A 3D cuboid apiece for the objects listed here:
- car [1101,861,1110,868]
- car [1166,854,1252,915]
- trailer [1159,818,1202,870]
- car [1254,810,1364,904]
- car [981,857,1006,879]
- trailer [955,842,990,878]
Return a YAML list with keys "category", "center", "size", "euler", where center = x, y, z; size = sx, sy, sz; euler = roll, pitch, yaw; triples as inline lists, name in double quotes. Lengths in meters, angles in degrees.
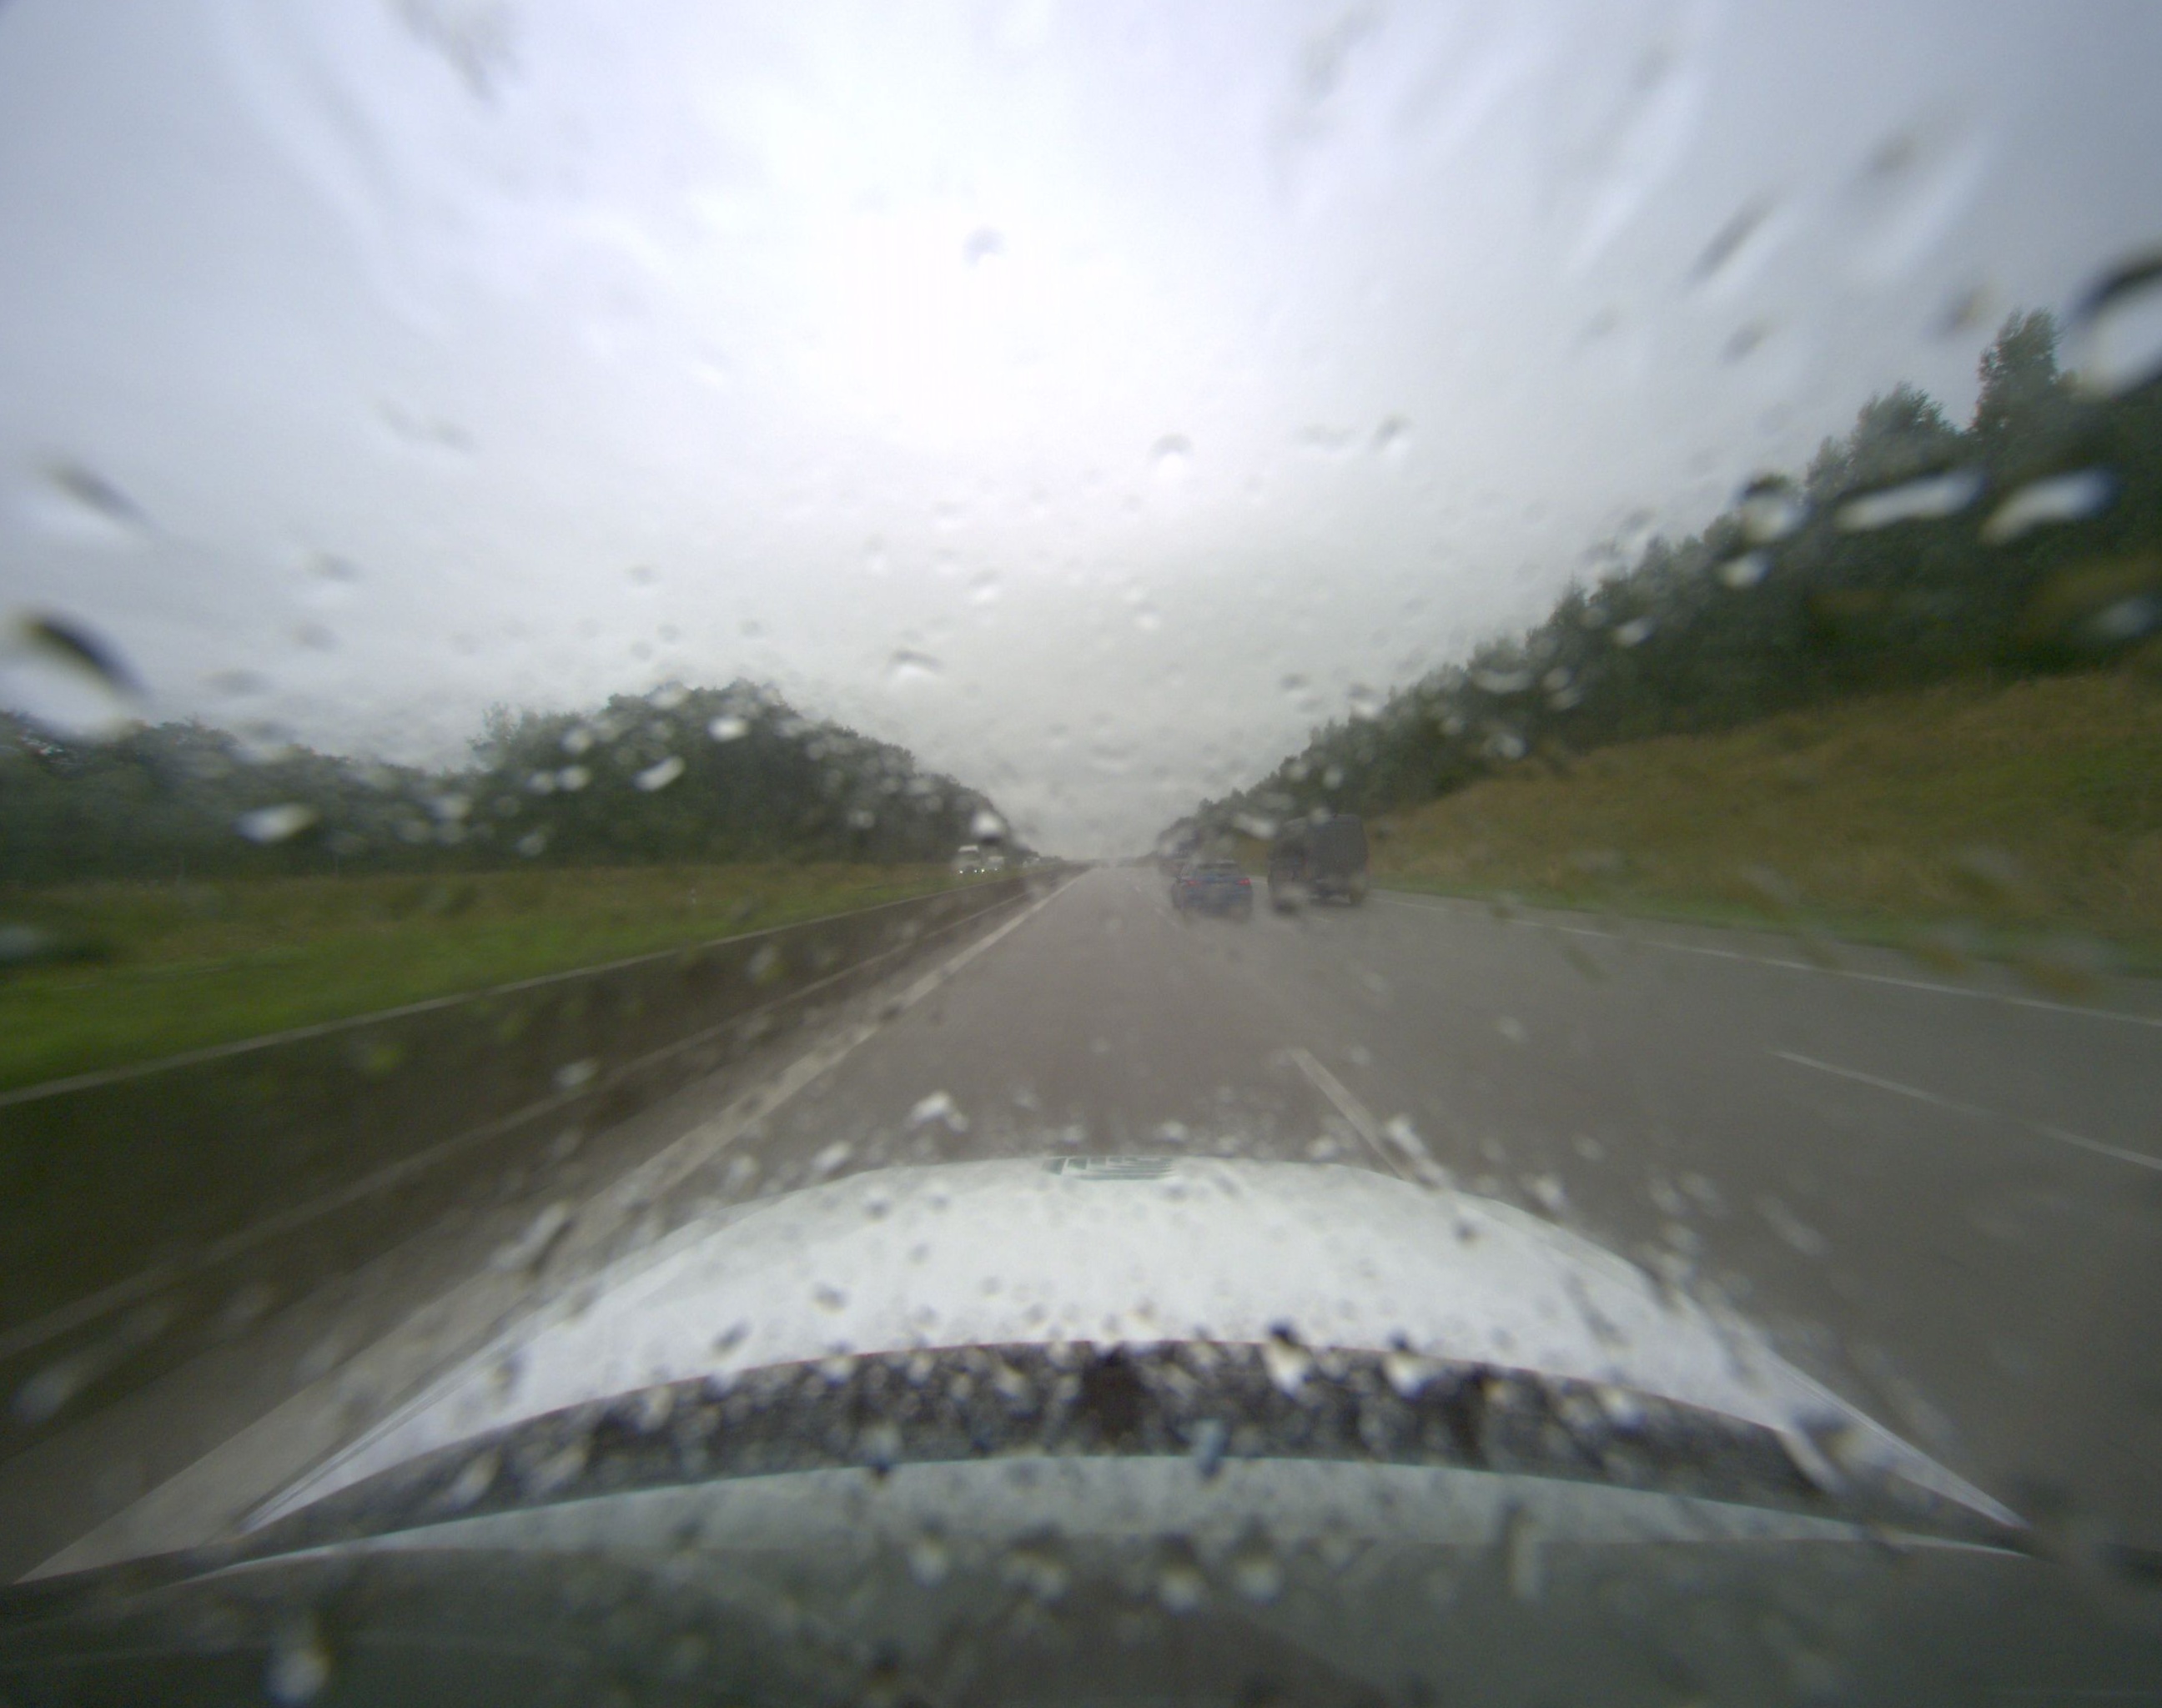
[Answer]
- category: "car"
  center: [4.789, 1.996, 161.832]
  size: [1.723, 1.331, 4.430]
  euler: [-2, 0, 1]
- category: "car"
  center: [3.438, 0.834, 22.743]
  size: [1.723, 1.459, 4.673]
  euler: [-2, -2, 1]
- category: "trailer"
  center: [9.208, -0.730, 77.107]
  size: [2.696, 4.380, 15.210]
  euler: [-1, -1, 2]
- category: "car"
  center: [7.151, 0.100, 26.325]
  size: [1.933, 2.659, 6.589]
  euler: [0, 0, 2]
- category: "car"
  center: [-9.562, 1.454, 89.153]
  size: [1.986, 2.180, 5.208]
  euler: [-3, 0, 1]
- category: "trailer"
  center: [-13.474, 0.719, 102.281]
  size: [2.577, 4.046, 10.376]
  euler: [-4, 0, 1]
